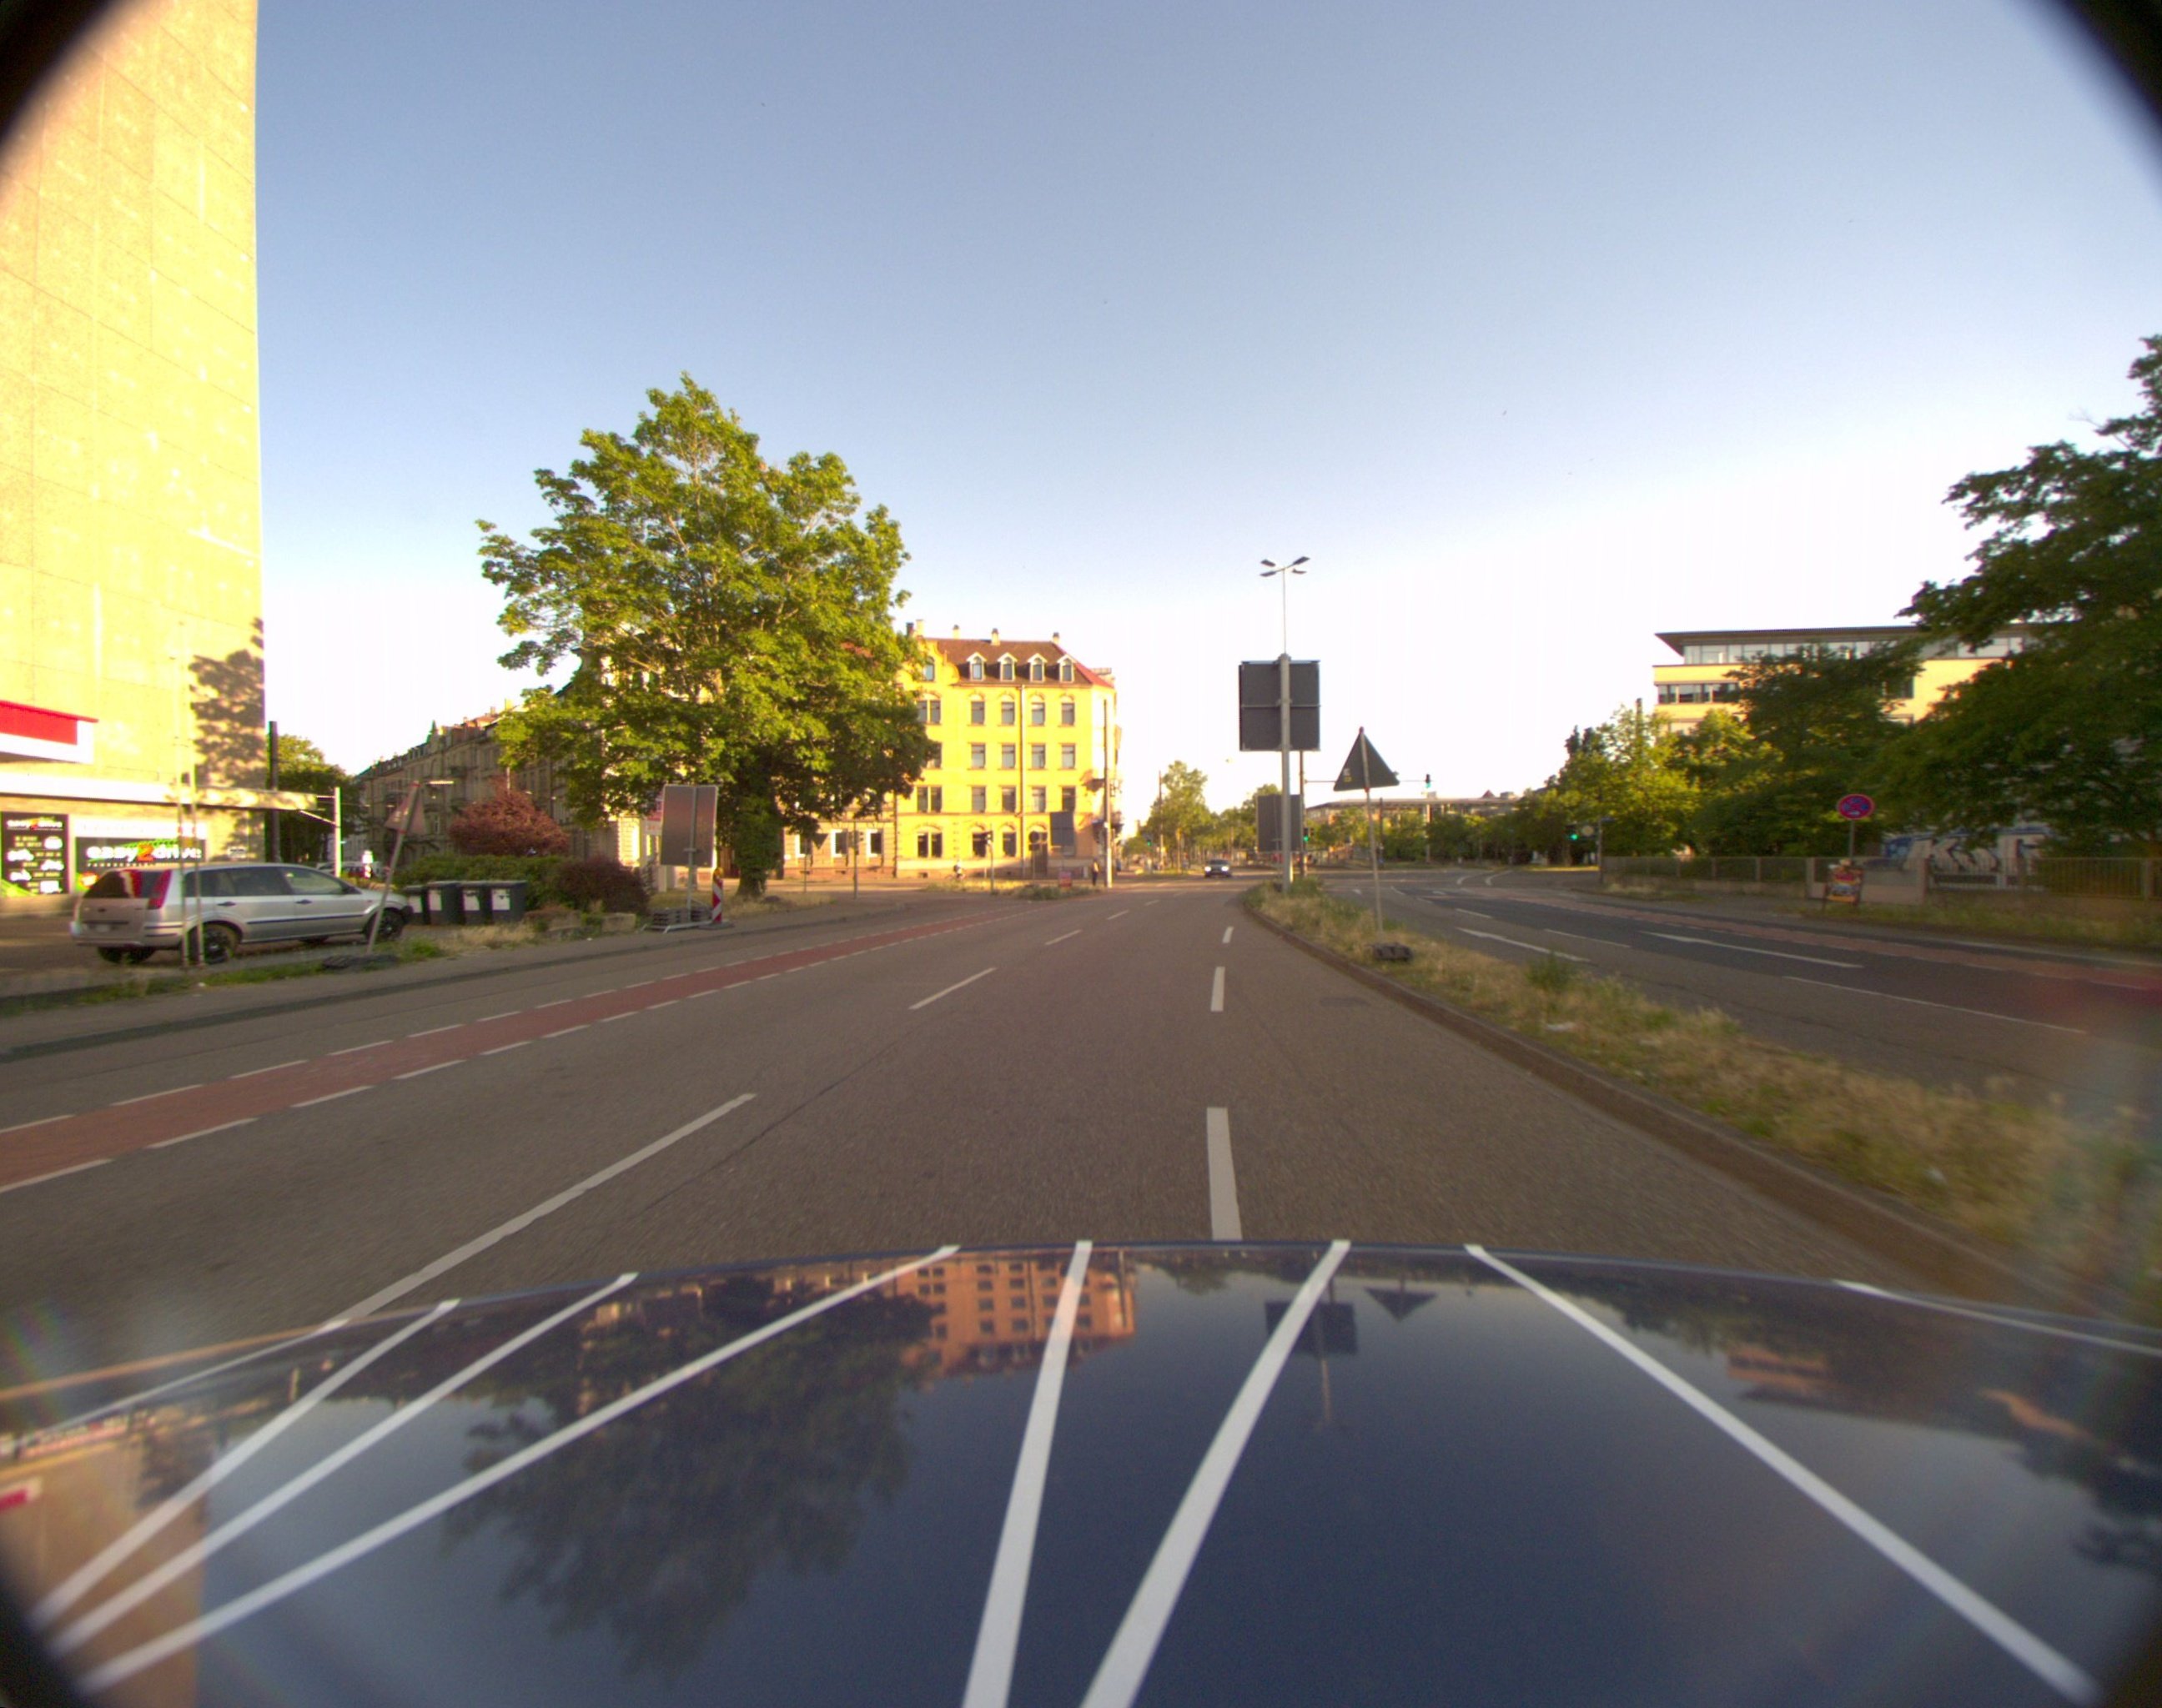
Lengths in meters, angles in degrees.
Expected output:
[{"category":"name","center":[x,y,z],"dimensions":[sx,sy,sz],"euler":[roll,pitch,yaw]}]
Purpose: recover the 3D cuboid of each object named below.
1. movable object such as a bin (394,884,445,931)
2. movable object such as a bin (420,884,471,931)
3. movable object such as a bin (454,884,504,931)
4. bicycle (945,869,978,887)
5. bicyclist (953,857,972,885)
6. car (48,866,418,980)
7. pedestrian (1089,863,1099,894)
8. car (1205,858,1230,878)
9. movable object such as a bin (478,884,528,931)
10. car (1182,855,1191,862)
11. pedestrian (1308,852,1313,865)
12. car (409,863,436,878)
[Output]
[{"category":"movable object such as a bin","center":[-15.062,1.210,17.312],"dimensions":[0.544,1.013,0.688],"euler":[0,0,6]},{"category":"movable object such as a bin","center":[-14.396,1.198,17.224],"dimensions":[0.544,1.013,0.688],"euler":[0,0,6]},{"category":"movable object such as a bin","center":[-13.611,1.210,17.189],"dimensions":[0.544,1.013,0.688],"euler":[0,0,6]},{"category":"bicycle","center":[-7.098,1.432,45.222],"dimensions":[1.927,1.053,0.451],"euler":[-1,1,-6]},{"category":"bicyclist","center":[-7.043,0.977,45.231],"dimensions":[1.065,1.639,0.732],"euler":[-1,1,-6]},{"category":"car","center":[-13.742,1.009,12.702],"dimensions":[1.688,1.508,3.798],"euler":[-1,1,8]},{"category":"pedestrian","center":[0.734,1.364,42.517],"dimensions":[0.500,1.693,0.472],"euler":[0,1,5]},{"category":"car","center":[10.601,1.056,59.230],"dimensions":[1.818,1.440,4.670],"euler":[-2,0,9]},{"category":"movable object such as a bin","center":[-12.892,1.183,16.971],"dimensions":[0.544,1.013,0.688],"euler":[0,0,6]},{"category":"car","center":[21.313,0.978,153.275],"dimensions":[1.673,1.410,4.444],"euler":[0,0,10]},{"category":"pedestrian","center":[35.124,0.694,116.204],"dimensions":[0.556,2.002,0.664],"euler":[-1,0,1]},{"category":"car","center":[-71.607,1.765,82.586],"dimensions":[3.109,1.536,1.682],"euler":[-2,1,39]}]
